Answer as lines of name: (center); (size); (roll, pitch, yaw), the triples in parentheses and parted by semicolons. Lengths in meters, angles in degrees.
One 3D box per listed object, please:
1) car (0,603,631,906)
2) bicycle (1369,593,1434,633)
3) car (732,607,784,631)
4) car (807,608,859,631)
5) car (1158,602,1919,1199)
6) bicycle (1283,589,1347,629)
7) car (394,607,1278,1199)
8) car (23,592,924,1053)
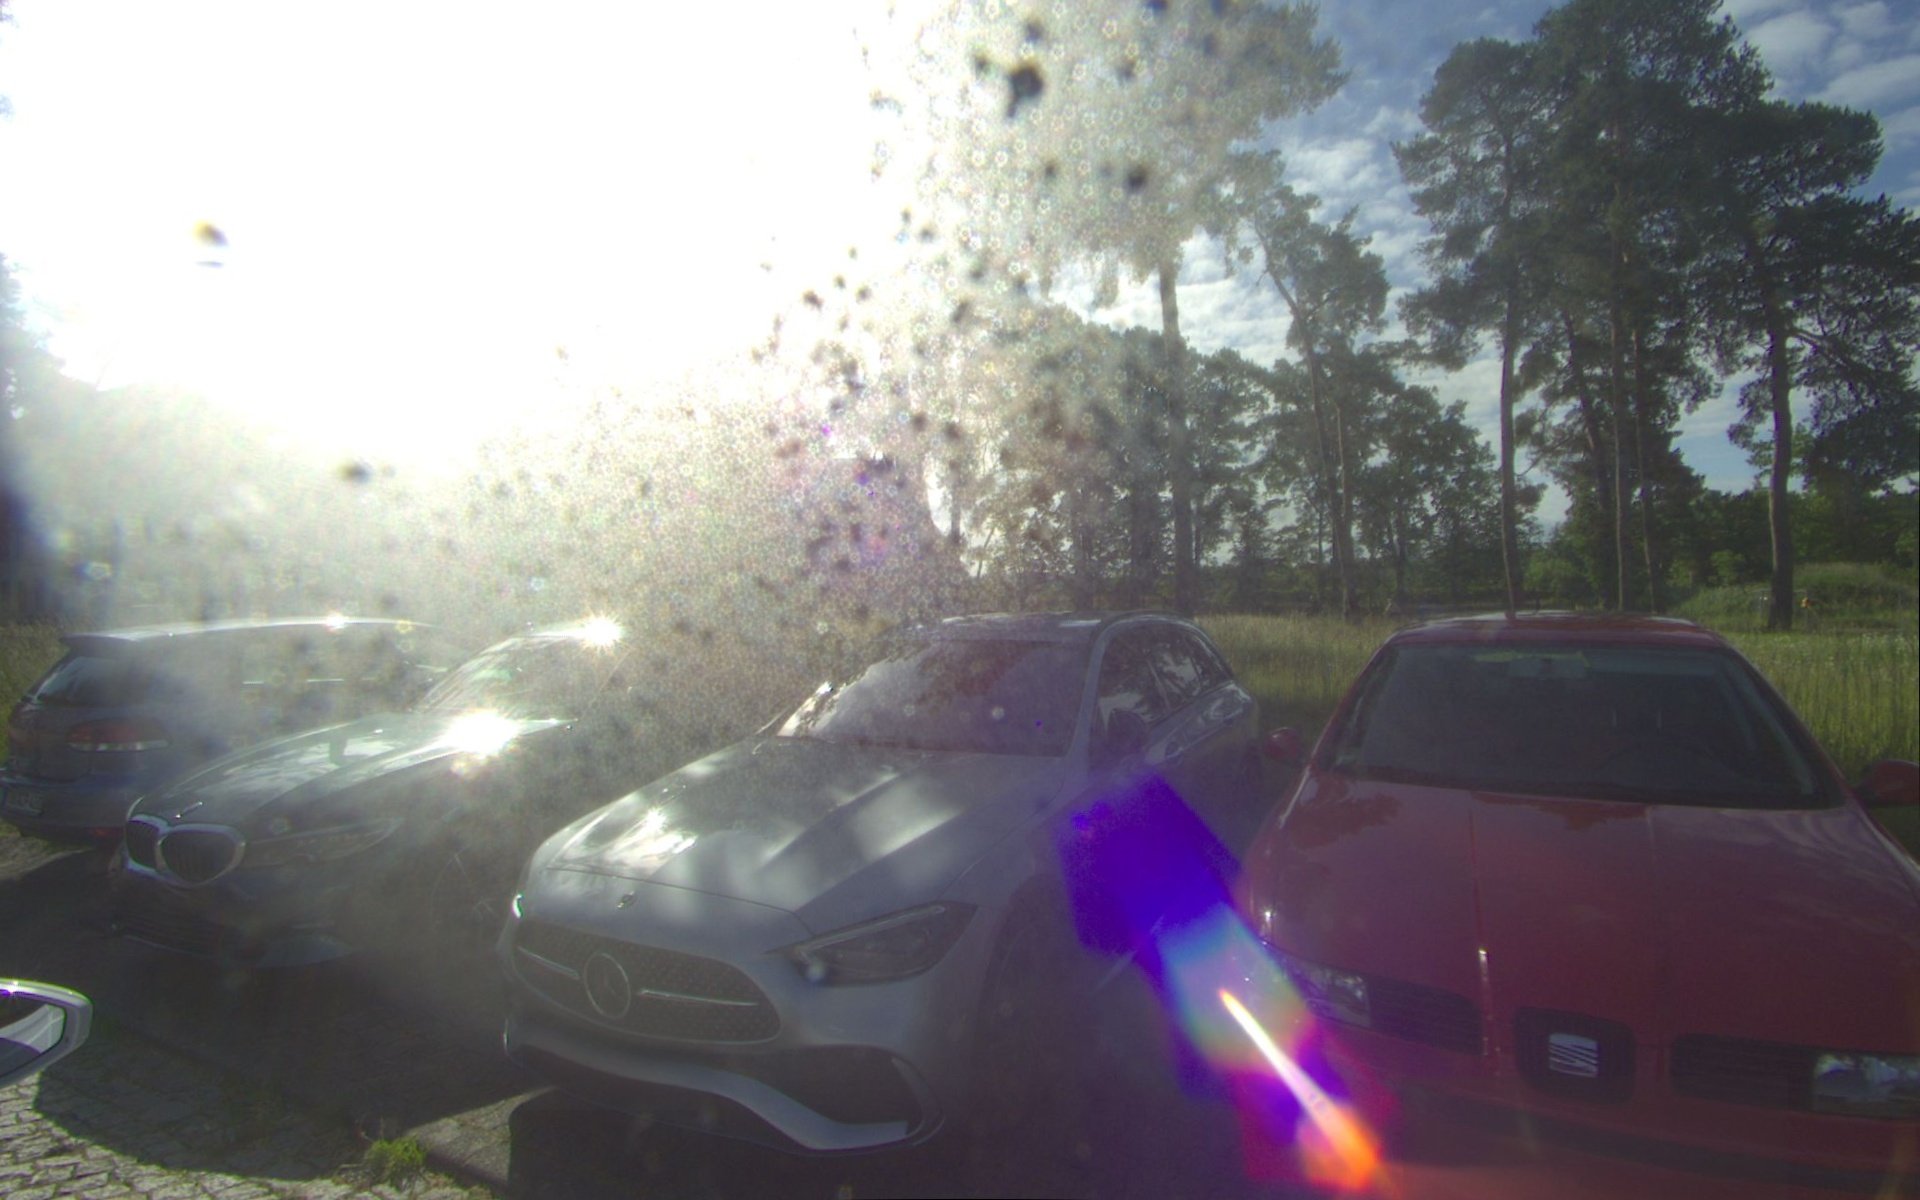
car: (-4.371, 0.814, 7.182); (1.640, 1.463, 3.667); (0, 1, 29)
bicycle: (23.607, 0.716, 53.573); (3.082, 2.040, 0.950); (-2, 0, 27)
car: (-14.882, 1.368, 73.902); (1.741, 1.693, 3.629); (0, 0, 32)
car: (-8.804, 1.356, 69.580); (1.741, 1.517, 3.629); (0, 0, 32)
car: (2.118, 0.776, 3.637); (1.630, 1.468, 3.974); (0, 1, 29)
bicycle: (19.193, 0.487, 54.121); (3.084, 2.040, 0.949); (-2, 0, 29)
car: (0.118, 0.804, 4.535); (1.761, 1.407, 4.394); (0, 1, 28)
car: (-2.145, 0.769, 5.955); (1.840, 1.475, 4.614); (0, 2, 27)
